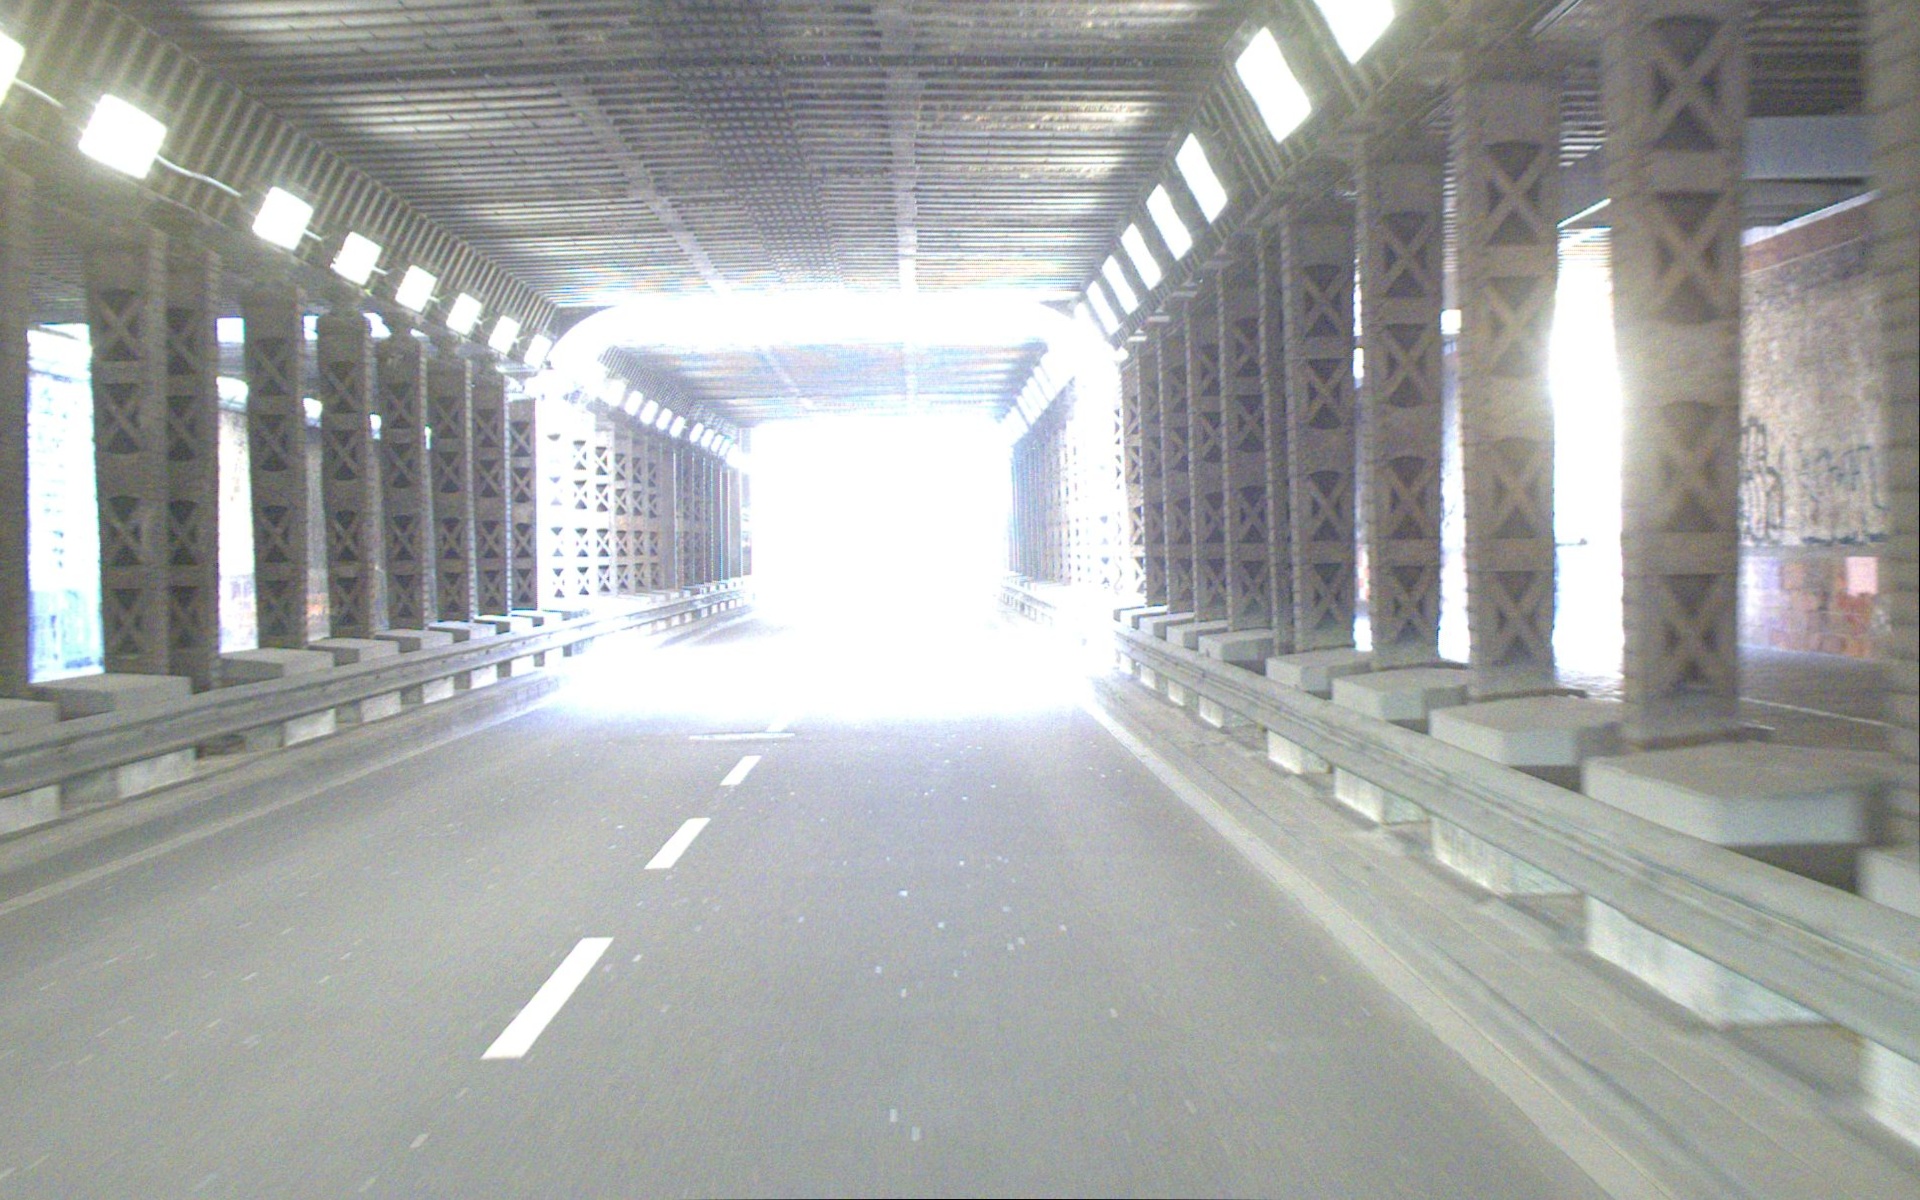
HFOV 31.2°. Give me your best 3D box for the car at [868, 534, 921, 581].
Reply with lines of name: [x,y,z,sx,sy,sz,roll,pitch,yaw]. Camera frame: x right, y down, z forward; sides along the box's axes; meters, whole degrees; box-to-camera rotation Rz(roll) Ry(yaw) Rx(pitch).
car: [-2.589,-1.710,136.729,1.993,1.778,4.000,-1,1,-1]

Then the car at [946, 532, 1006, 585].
car: [0.537,-1.455,120.697,1.993,1.778,4.000,-1,1,-1]

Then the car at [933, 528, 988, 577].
car: [0.015,-1.798,130.568,1.993,1.778,4.000,-1,1,-1]

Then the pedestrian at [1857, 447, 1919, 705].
pedestrian: [6.628,-0.182,23.160,0.800,1.696,1.111,-2,1,-1]
